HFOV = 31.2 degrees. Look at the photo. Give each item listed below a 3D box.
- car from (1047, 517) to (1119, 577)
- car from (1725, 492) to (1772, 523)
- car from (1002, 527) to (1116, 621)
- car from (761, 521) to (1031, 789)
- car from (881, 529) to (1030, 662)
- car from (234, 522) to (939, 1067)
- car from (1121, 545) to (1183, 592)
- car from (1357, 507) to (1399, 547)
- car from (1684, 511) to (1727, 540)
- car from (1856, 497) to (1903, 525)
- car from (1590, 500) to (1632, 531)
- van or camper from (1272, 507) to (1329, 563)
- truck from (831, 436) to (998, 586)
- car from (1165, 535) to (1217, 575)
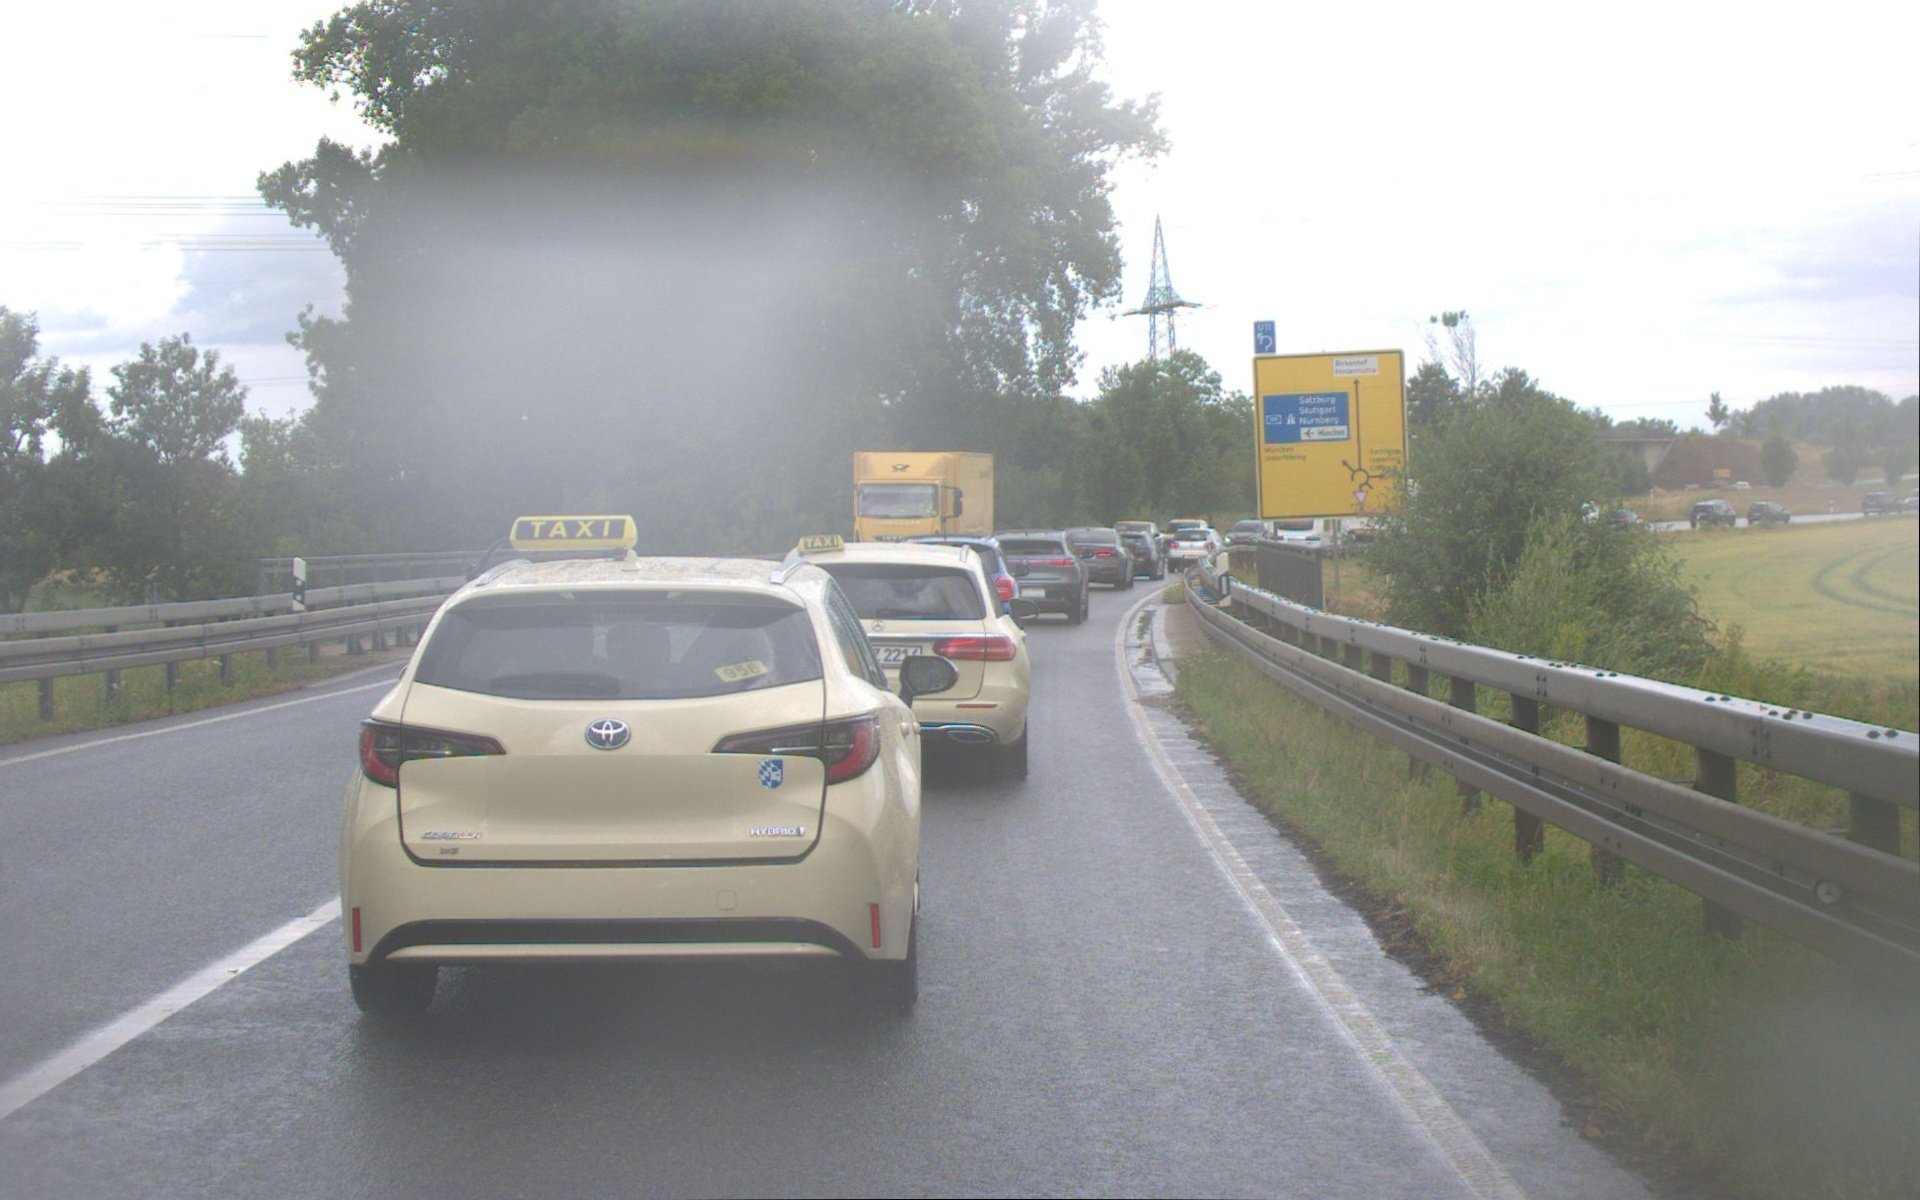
[{"bbox_3d":[2.996,-1.276,83.237,1.660,1.404,3.904,0,0,4],"label":"car"},{"bbox_3d":[53.827,-6.306,234.698,1.997,2.007,3.993,1,1,31],"label":"car"},{"bbox_3d":[1.564,-0.440,55.354,1.665,1.459,3.477,0,1,-1],"label":"car"},{"bbox_3d":[-0.338,0.291,21.950,1.578,1.567,3.681,0,1,1],"label":"car"},{"bbox_3d":[-0.014,-0.071,38.988,1.506,1.432,3.355,0,1,3],"label":"car"},{"bbox_3d":[-1.066,0.512,11.764,1.906,1.532,4.161,0,1,1],"label":"car"},{"bbox_3d":[5.483,-0.911,97.843,1.483,1.304,3.476,0,1,8],"label":"car"},{"bbox_3d":[19.525,-3.394,160.503,1.732,1.813,3.998,1,1,10],"label":"car"},{"bbox_3d":[48.977,-4.872,225.815,1.821,1.831,3.983,1,1,27],"label":"car"},{"bbox_3d":[67.418,-6.535,252.037,2.145,2.007,3.992,1,1,35],"label":"car"},{"bbox_3d":[39.820,-5.140,210.279,1.922,1.831,3.996,1,1,20],"label":"car"},{"bbox_3d":[13.990,-2.636,141.084,1.994,2.246,3.998,1,1,11],"label":"van or camper"},{"bbox_3d":[-1.018,-2.132,84.815,2.771,3.417,9.185,2,1,7],"label":"truck"},{"bbox_3d":[7.767,-1.518,115.418,1.483,1.304,3.476,0,1,8],"label":"car"}]
